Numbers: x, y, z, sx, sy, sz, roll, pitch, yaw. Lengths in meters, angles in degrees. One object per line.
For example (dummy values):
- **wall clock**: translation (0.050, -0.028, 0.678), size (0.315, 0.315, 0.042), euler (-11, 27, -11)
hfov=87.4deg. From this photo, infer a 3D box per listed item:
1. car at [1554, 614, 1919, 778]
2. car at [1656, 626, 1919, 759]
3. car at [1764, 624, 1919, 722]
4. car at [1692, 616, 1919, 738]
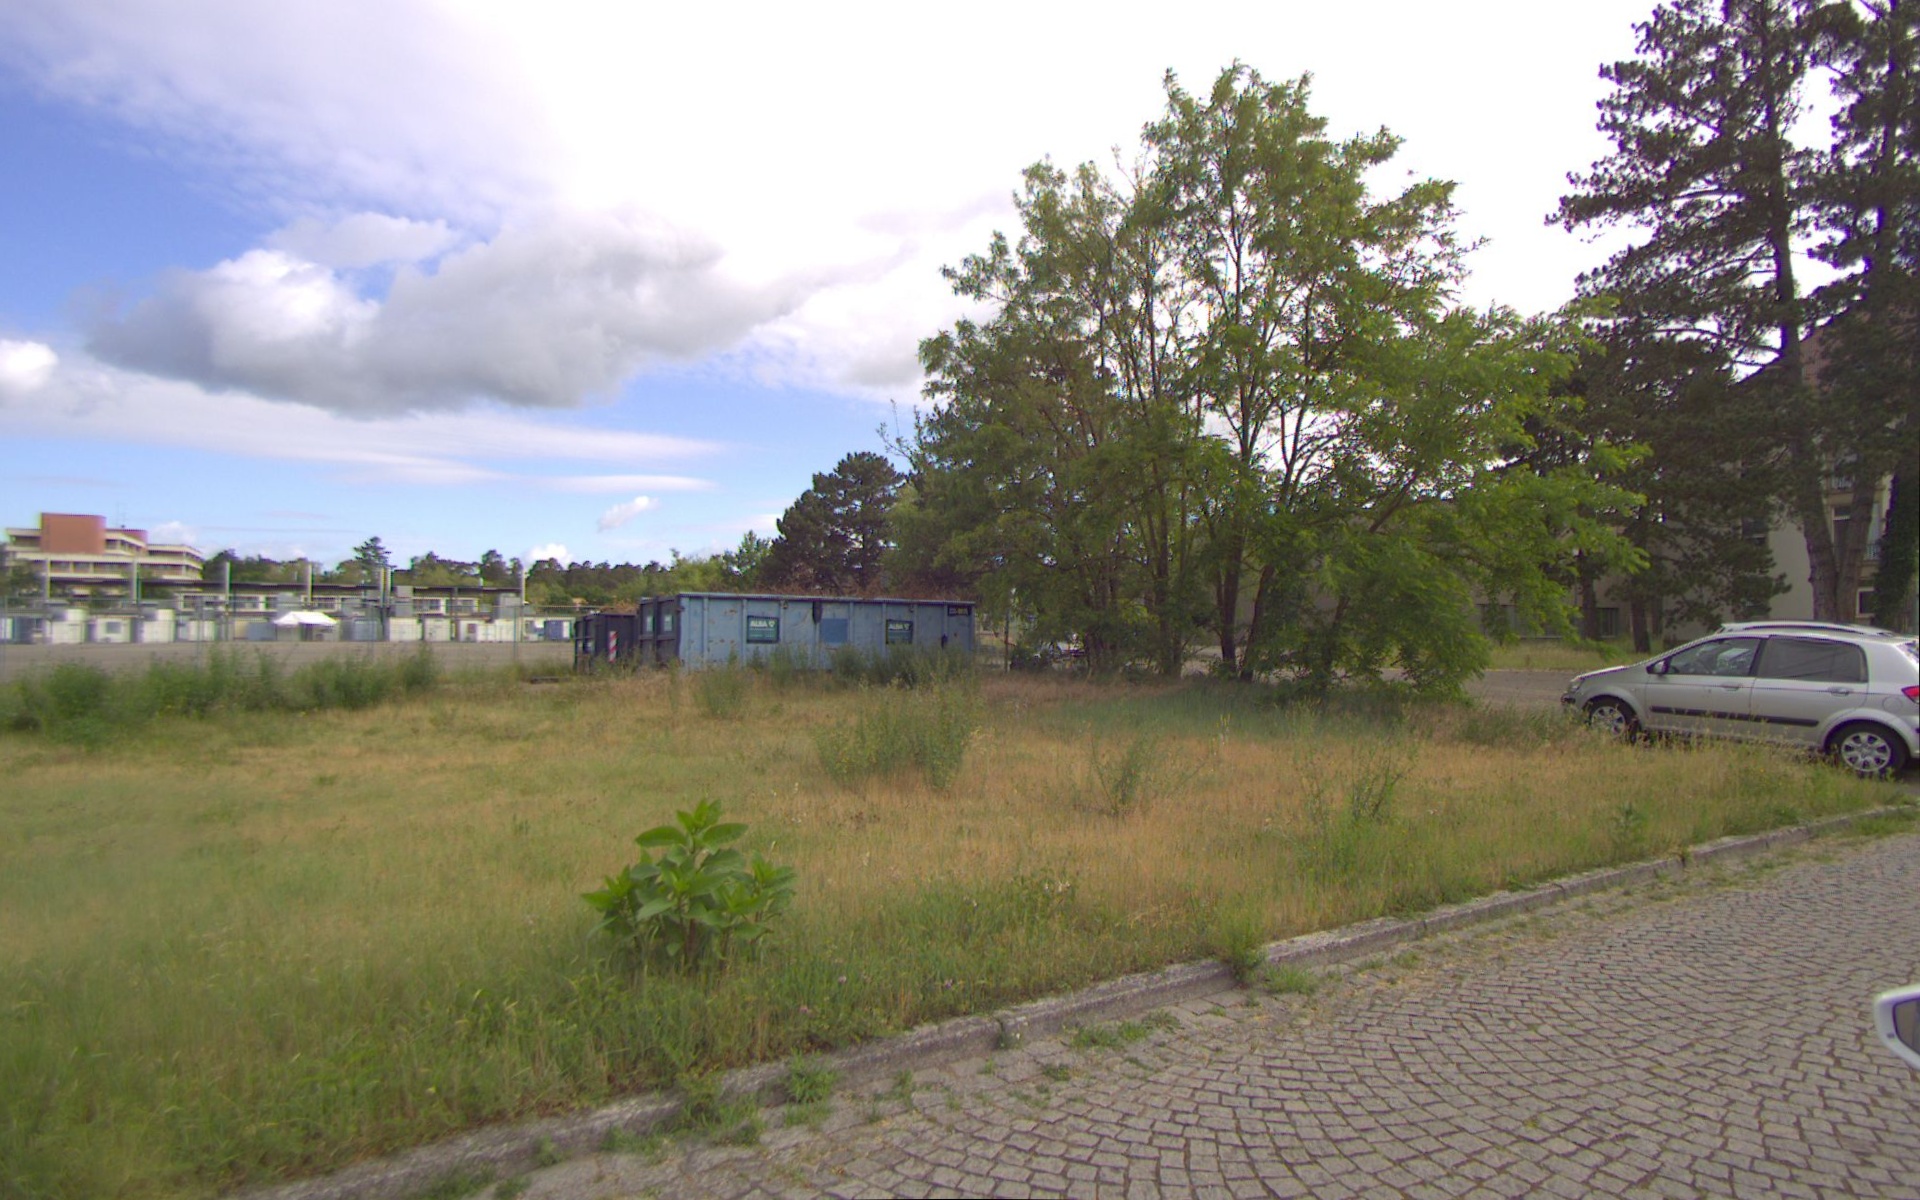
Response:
- **car**: translation (9.296, 0.988, 11.782), size (1.566, 1.499, 3.680), euler (1, 1, -34)
- **car**: translation (11.521, 1.150, 13.060), size (1.566, 1.448, 3.722), euler (1, 1, -34)
- **car**: translation (15.745, 1.207, 16.253), size (1.632, 1.440, 3.926), euler (1, 1, -31)
- **car**: translation (13.574, 1.123, 15.001), size (1.633, 1.584, 3.923), euler (1, 1, -34)
